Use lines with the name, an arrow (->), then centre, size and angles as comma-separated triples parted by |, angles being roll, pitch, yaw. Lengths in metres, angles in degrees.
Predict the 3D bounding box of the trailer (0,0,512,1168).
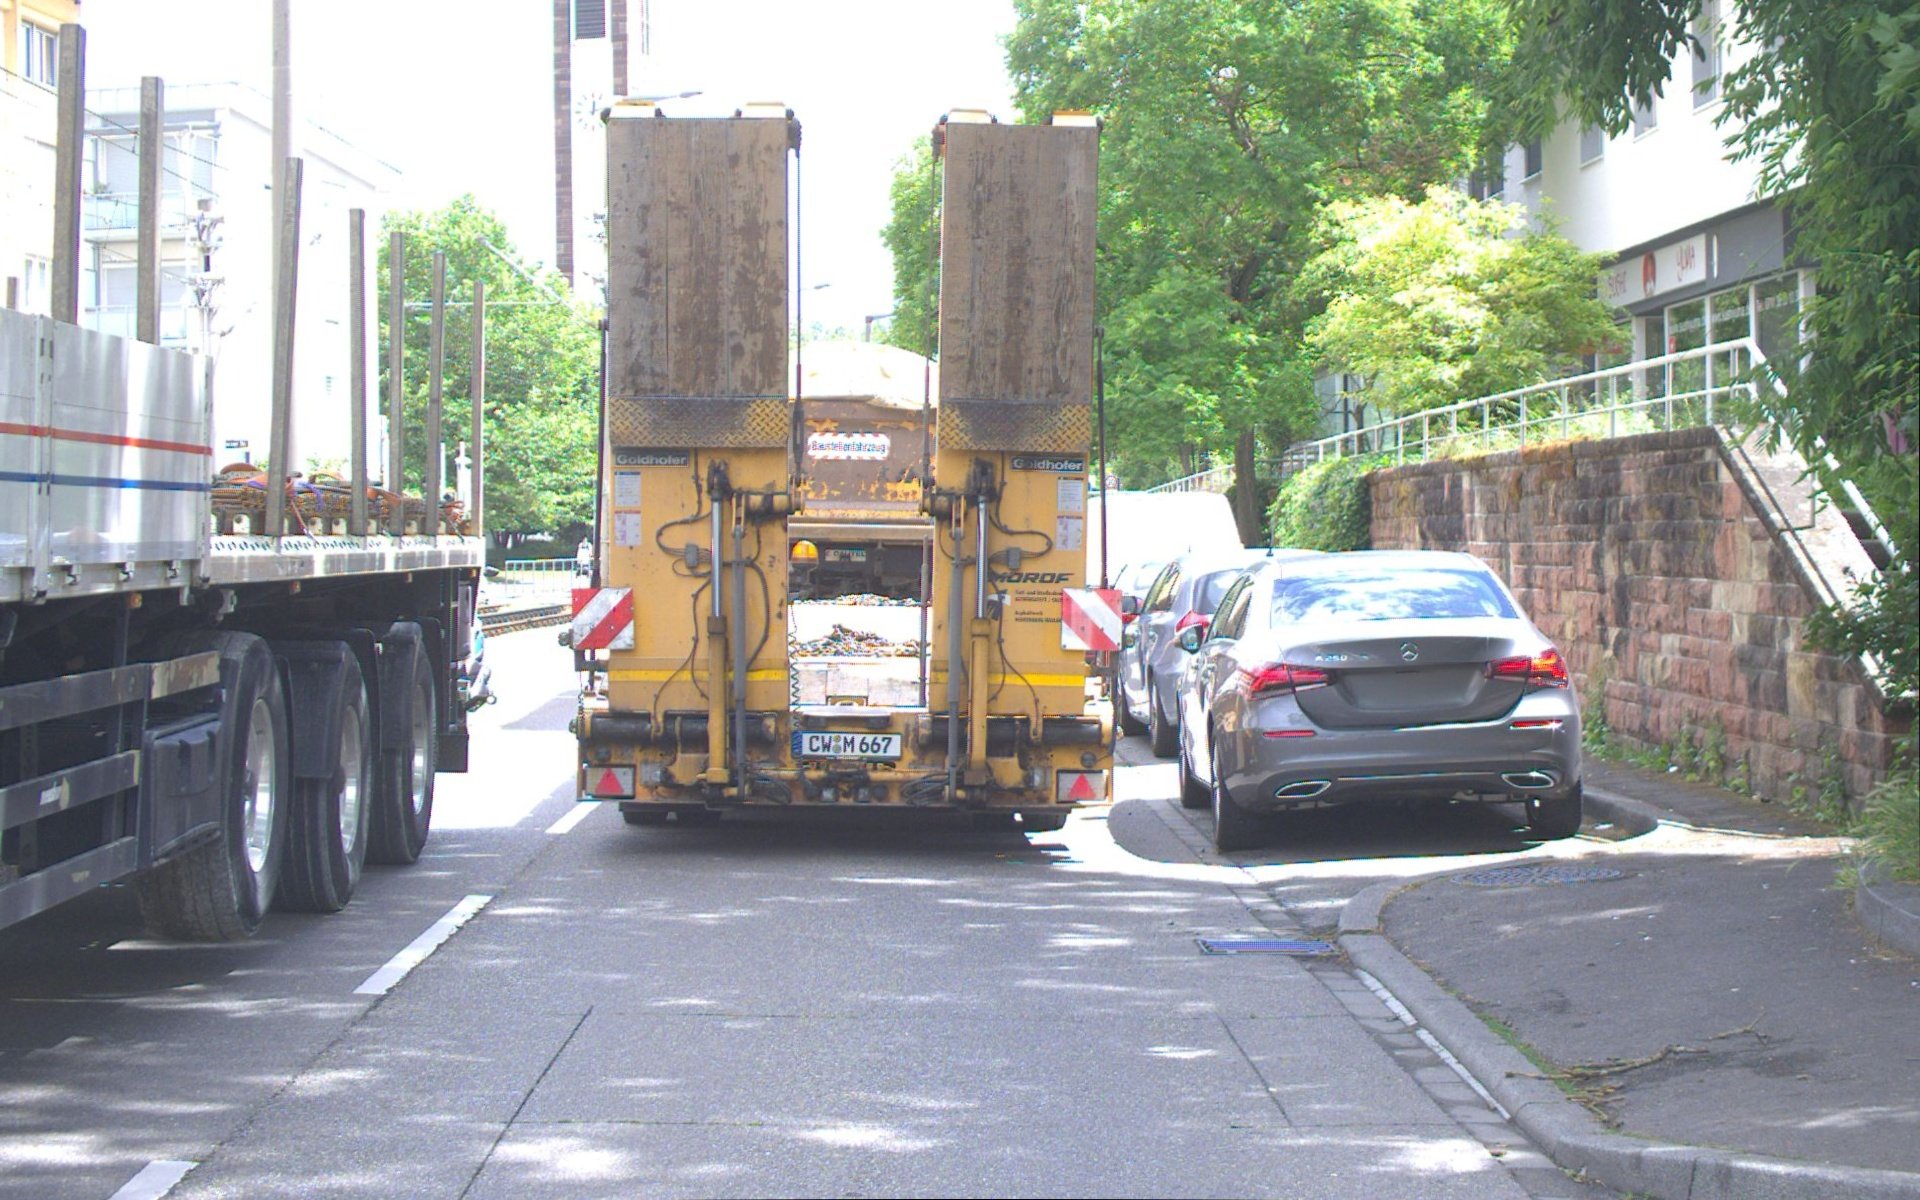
trailer -> -3.555, -0.616, 10.955 | 2.698, 3.568, 13.676 | 1, 2, -1

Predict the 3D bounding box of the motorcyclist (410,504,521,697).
motorcyclist -> -3.798, -0.007, 26.451 | 0.747, 1.462, 0.887 | 0, 1, -2

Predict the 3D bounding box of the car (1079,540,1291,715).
car -> 1.940, 0.197, 30.499 | 1.621, 1.400, 3.650 | -1, 2, 0

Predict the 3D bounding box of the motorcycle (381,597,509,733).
motorcycle -> -3.958, 0.483, 26.524 | 0.747, 0.951, 1.832 | 1, 2, -2

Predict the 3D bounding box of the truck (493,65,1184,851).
truck -> -0.735, -0.810, 21.823 | 3.124, 3.552, 12.461 | 0, 2, -2

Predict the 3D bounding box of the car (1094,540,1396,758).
car -> 2.015, 0.296, 25.316 | 1.690, 1.400, 4.069 | -1, 2, -3

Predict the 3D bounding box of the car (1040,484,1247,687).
car -> 1.852, -0.205, 35.908 | 1.799, 1.961, 4.590 | -1, 2, -1

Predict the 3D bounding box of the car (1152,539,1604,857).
car -> 2.066, 0.417, 18.182 | 1.836, 1.400, 4.414 | -1, 2, 0
